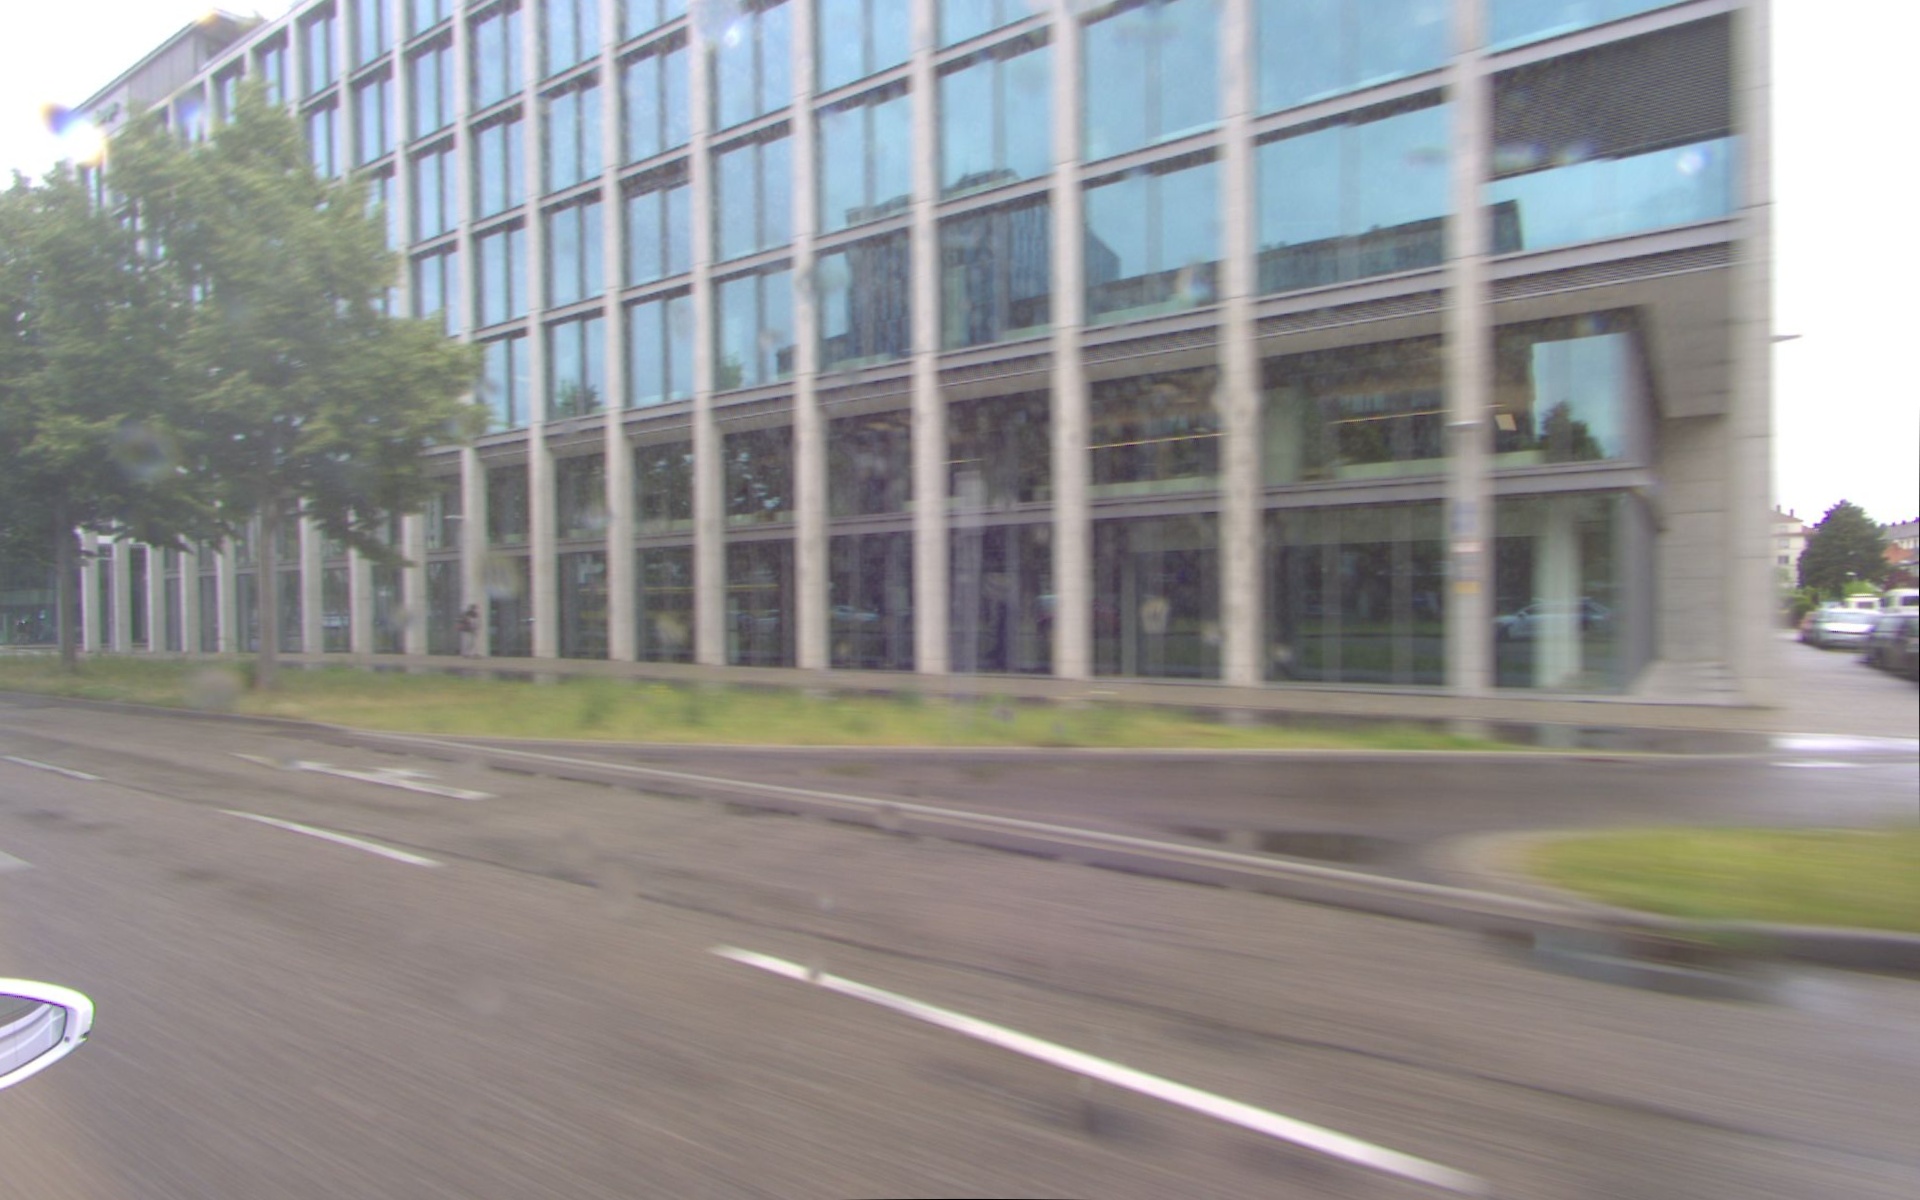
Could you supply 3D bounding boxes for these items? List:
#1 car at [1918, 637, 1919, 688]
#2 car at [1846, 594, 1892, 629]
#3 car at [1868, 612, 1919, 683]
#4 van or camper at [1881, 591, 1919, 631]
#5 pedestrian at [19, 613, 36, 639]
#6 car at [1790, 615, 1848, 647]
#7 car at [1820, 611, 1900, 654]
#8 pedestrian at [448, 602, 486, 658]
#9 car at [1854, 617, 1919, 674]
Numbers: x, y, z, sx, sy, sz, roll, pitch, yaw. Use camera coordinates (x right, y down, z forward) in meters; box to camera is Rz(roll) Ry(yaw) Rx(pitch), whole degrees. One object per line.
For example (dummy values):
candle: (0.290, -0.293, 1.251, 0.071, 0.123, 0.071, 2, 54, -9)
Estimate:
car: (18.940, 1.053, 18.000, 1.955, 1.457, 4.203, 2, 1, 37)
car: (75.005, 0.978, 82.704, 2.196, 2.817, 4.480, 0, -2, 34)
car: (22.374, 1.069, 22.922, 1.836, 1.508, 3.975, 2, 1, 36)
van or camper: (63.031, 0.743, 66.475, 2.065, 2.618, 5.597, 0, -1, 35)
pedestrian: (-62.725, 1.753, 67.346, 0.774, 1.730, 0.675, 0, 0, -36)
car: (40.856, 1.433, 47.702, 1.837, 1.435, 3.973, 0, -1, 37)
car: (33.397, 1.168, 37.270, 1.837, 1.457, 3.973, 1, 0, 37)
pedestrian: (-15.704, 0.942, 31.895, 0.848, 1.738, 0.715, 0, 2, 31)
car: (25.146, 1.171, 26.501, 1.837, 1.391, 3.973, 1, 1, 37)
